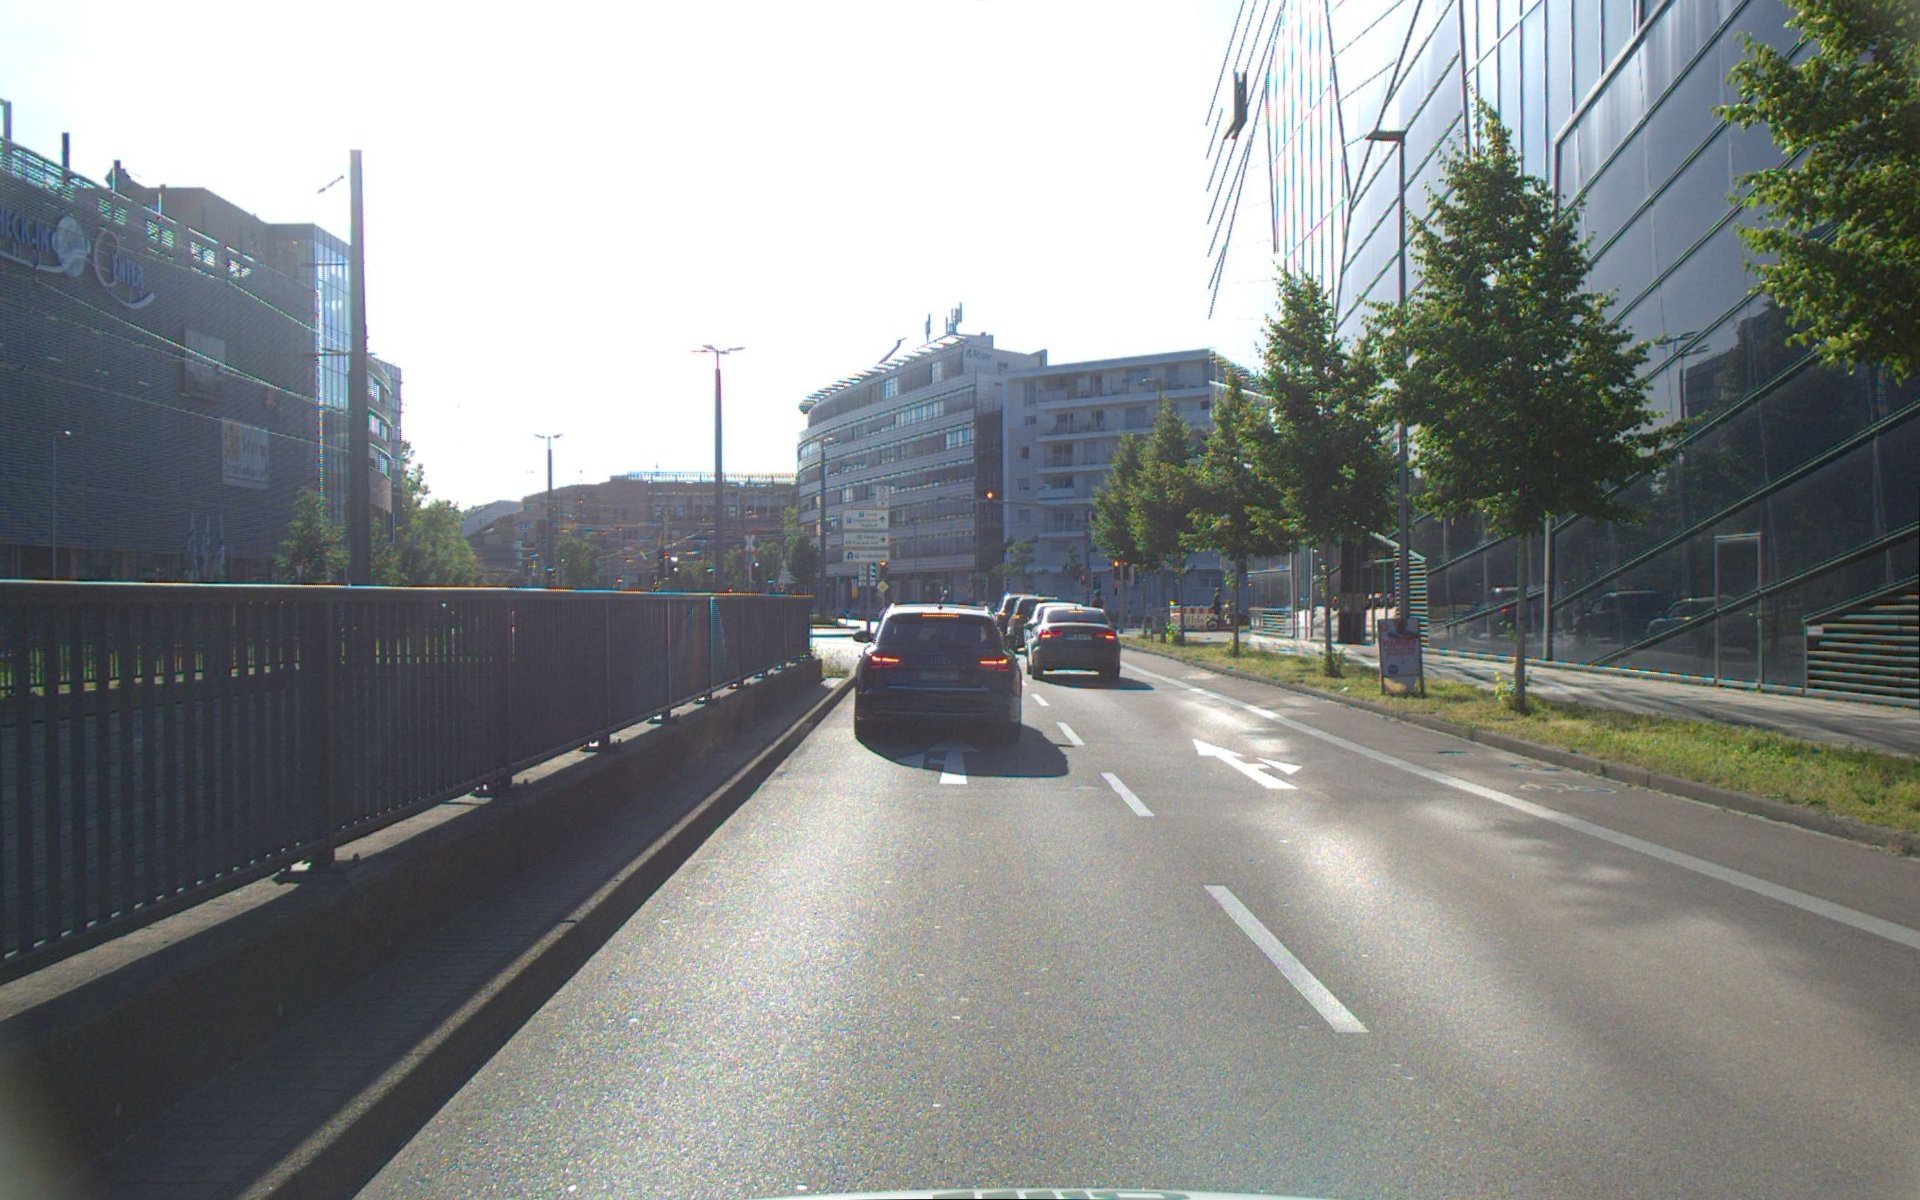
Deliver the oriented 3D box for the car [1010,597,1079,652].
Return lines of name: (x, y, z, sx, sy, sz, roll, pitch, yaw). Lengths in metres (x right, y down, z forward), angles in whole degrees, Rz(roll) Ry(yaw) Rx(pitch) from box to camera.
car: (2.473, 0.695, 49.416, 1.952, 1.491, 4.001, 1, 1, 2)

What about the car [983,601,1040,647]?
car: (1.808, 0.830, 59.207, 1.952, 1.491, 4.001, 1, 1, 1)

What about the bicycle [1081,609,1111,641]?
bicycle: (5.288, 0.956, 64.220, 0.710, 1.205, 2.090, -2, 0, -7)

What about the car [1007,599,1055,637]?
car: (3.005, 0.743, 70.889, 1.952, 1.491, 4.001, 1, 1, 1)

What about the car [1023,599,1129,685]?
car: (2.249, 0.793, 33.078, 1.815, 1.573, 4.000, 1, 0, 0)

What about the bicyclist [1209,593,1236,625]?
bicyclist: (10.987, 0.372, 69.171, 1.011, 1.291, 0.727, -2, 0, 4)

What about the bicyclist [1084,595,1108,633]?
bicyclist: (5.289, 0.543, 64.244, 0.710, 1.443, 0.890, -2, 0, -7)

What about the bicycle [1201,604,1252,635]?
bicycle: (11.133, 0.820, 69.148, 2.043, 1.205, 0.727, -2, 0, 4)

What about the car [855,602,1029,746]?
car: (-0.233, 0.775, 19.347, 1.775, 1.452, 4.688, -1, 0, -1)

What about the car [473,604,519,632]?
car: (-30.517, 1.178, 108.861, 1.953, 1.747, 3.999, -2, 0, -1)
